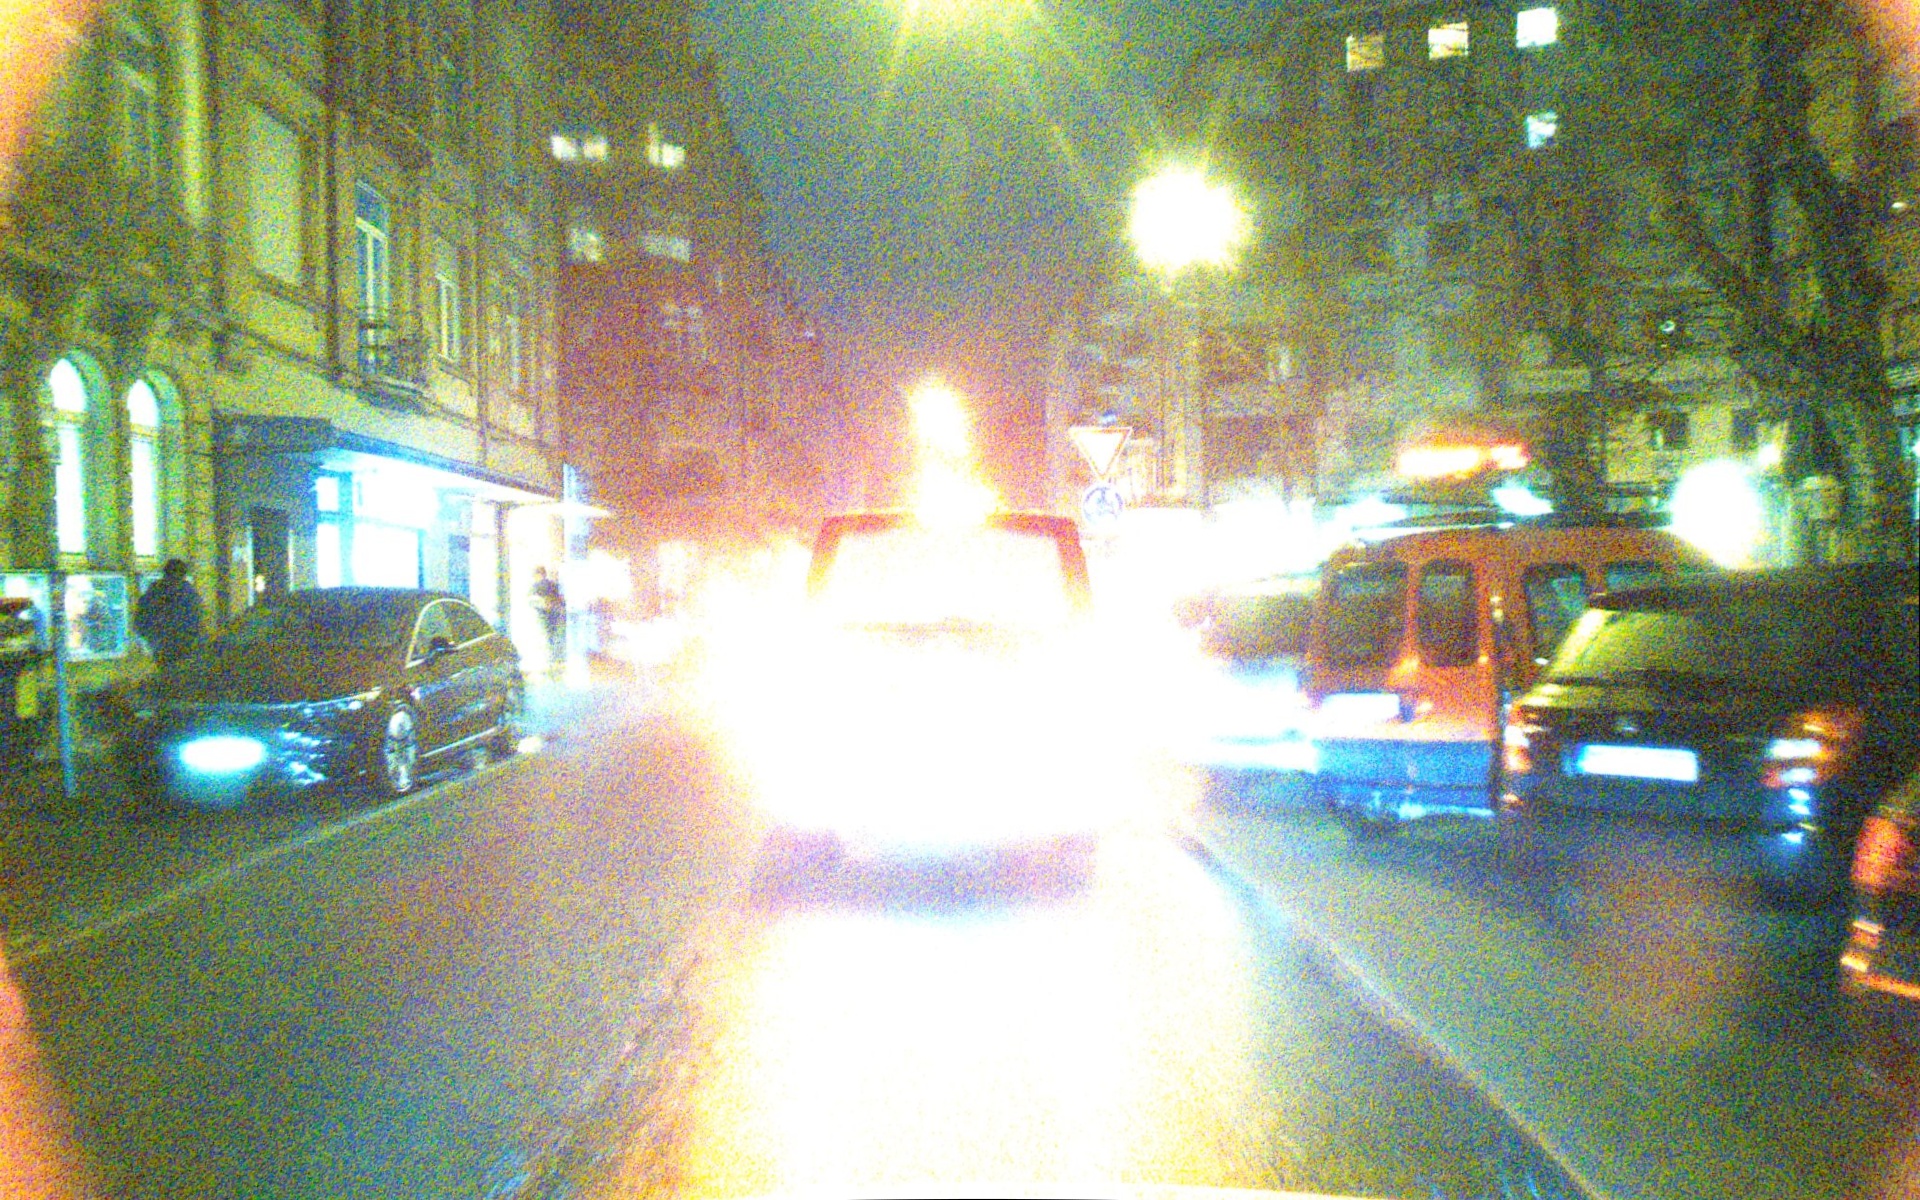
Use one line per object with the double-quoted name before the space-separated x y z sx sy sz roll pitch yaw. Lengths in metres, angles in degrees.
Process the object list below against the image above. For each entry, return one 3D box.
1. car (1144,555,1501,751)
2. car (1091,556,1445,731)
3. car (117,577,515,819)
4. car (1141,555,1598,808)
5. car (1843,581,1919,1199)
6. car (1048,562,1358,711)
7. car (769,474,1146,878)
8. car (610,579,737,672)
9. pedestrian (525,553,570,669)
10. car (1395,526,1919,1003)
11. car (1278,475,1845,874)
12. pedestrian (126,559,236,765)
"car" 3.696 0.475 16.645 3.533 1.764 1.667 0 0 -38
"car" 3.569 0.436 18.889 3.958 1.792 1.855 0 0 -38
"car" -4.790 0.635 12.949 1.777 1.584 4.073 0 0 -4
"car" 3.252 0.538 12.874 3.529 1.618 1.584 -3 0 -38
"car" 3.900 0.615 4.091 3.527 1.478 1.651 -3 0 -37
"car" 3.253 0.434 21.806 3.958 1.792 1.855 0 0 -38
"car" -0.040 0.406 10.604 1.953 2.086 3.999 0 -1 -1
"car" -5.542 0.457 32.486 1.845 1.714 3.999 0 0 -1
"pedestrian" -6.964 0.187 27.922 0.648 1.937 0.538 0 0 -5
"car" 4.041 0.494 7.633 3.958 1.615 1.856 -4 1 -37
"car" 3.759 0.327 10.123 3.529 2.025 1.584 -3 0 -38
"pedestrian" -6.689 0.523 14.227 0.687 1.734 0.539 0 0 -1
